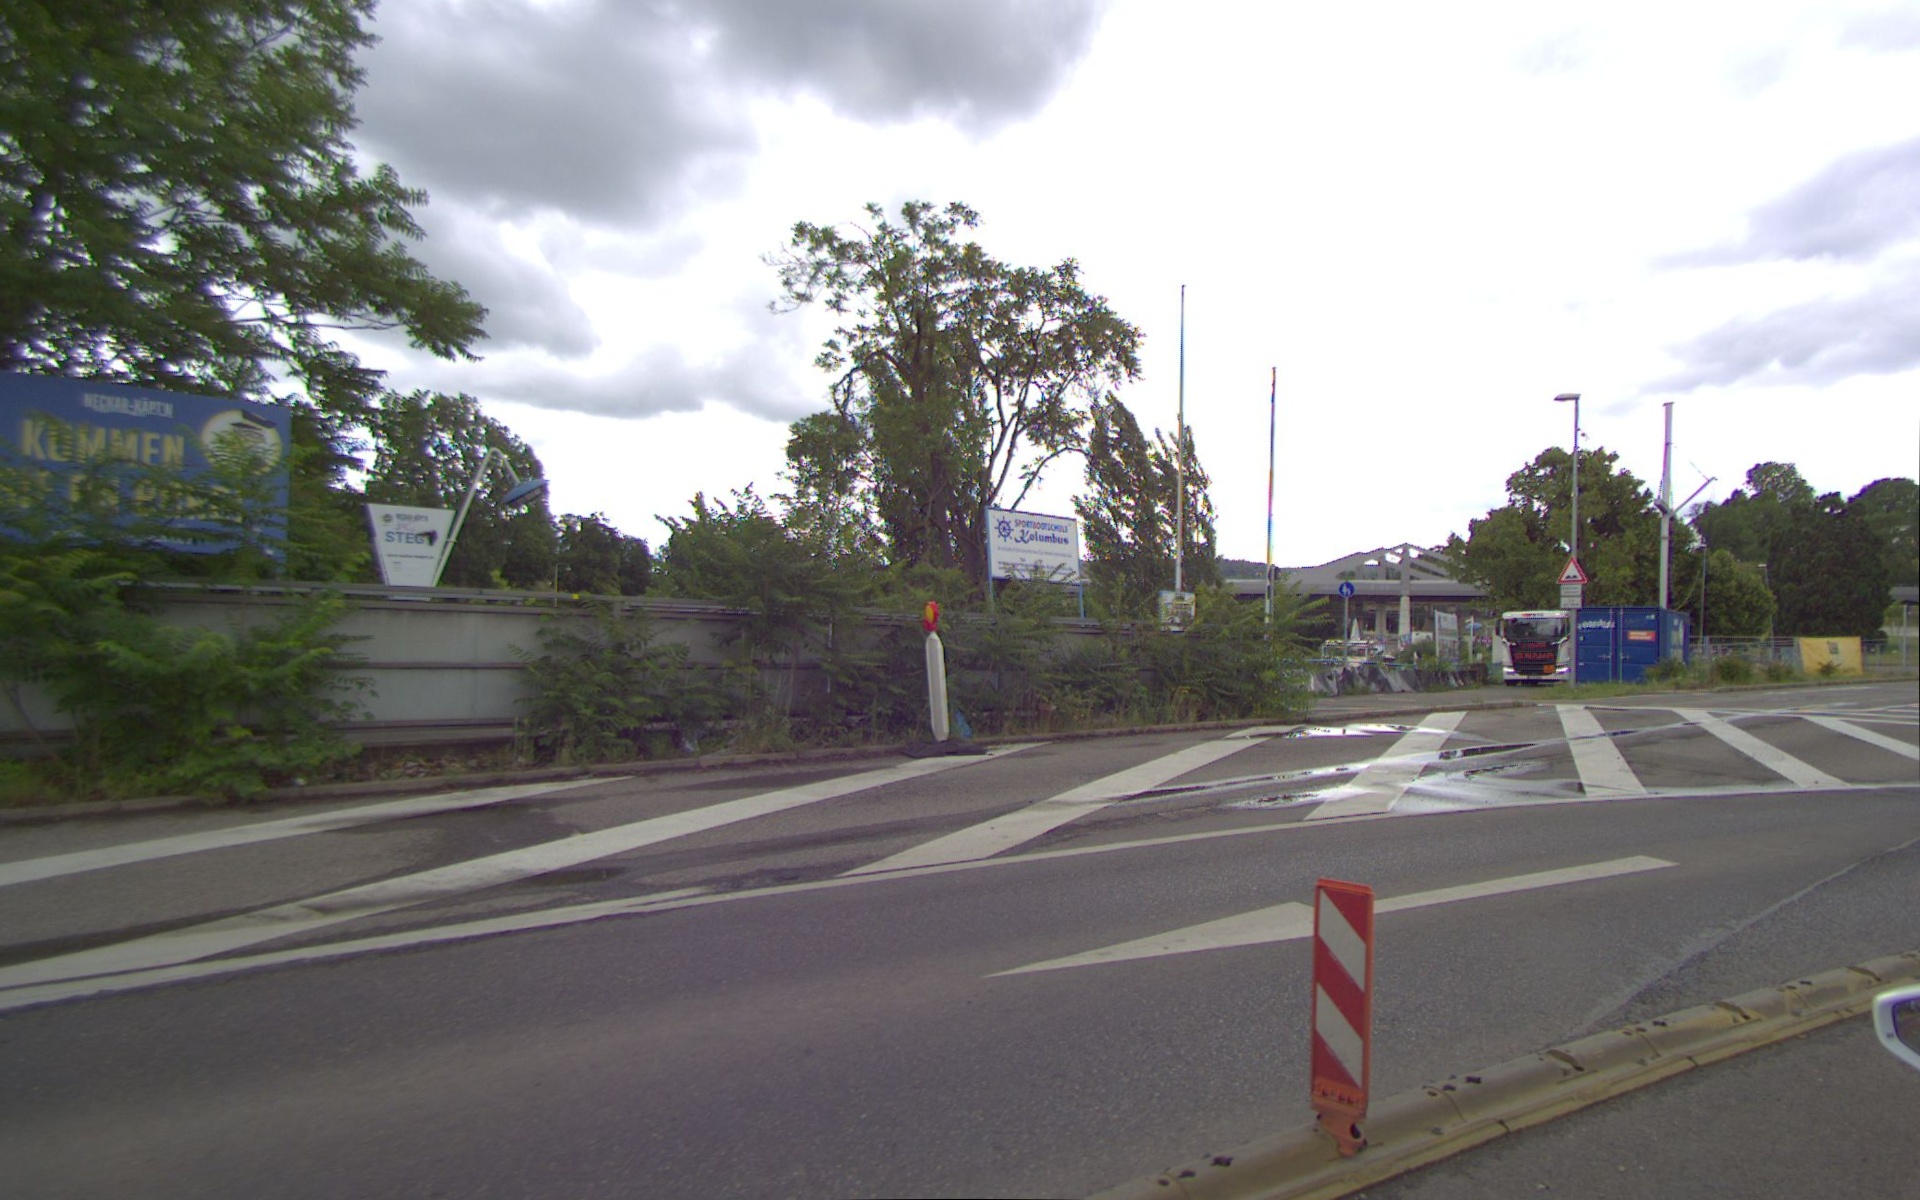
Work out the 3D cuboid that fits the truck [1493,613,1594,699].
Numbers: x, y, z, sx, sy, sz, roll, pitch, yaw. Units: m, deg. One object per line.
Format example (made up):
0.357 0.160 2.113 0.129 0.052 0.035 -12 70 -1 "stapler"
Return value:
25.535 2.375 43.744 2.757 3.380 8.446 -1 -2 37 "truck"
